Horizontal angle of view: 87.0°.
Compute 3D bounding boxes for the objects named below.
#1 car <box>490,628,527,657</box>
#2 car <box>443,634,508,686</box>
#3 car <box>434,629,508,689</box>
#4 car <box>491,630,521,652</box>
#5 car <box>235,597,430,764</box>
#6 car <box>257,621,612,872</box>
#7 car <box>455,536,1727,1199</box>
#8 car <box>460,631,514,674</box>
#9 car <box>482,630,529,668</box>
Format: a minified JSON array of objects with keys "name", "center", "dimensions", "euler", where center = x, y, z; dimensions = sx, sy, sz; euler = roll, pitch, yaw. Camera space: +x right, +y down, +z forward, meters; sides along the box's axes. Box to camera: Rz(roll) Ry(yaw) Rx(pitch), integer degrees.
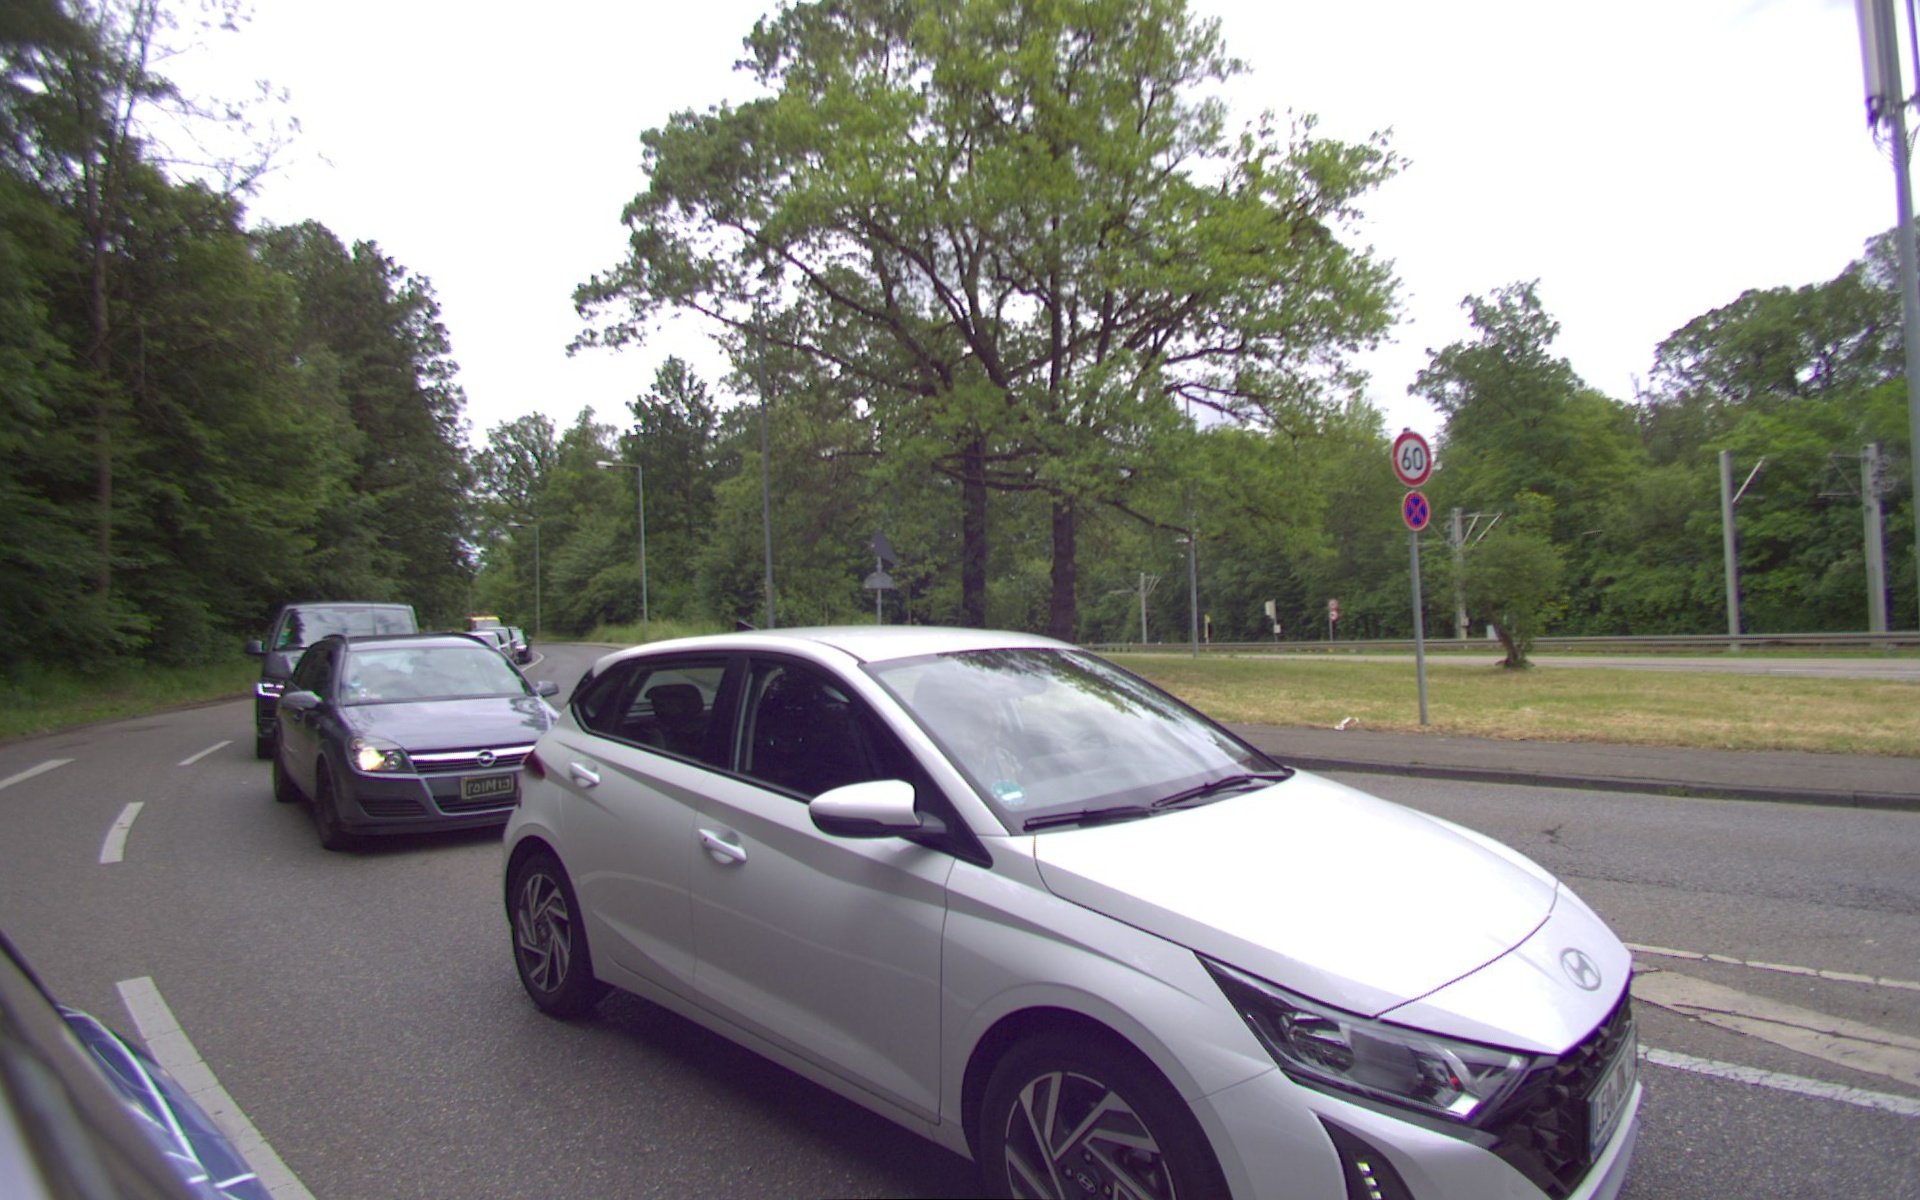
[{"name":"car","center":[-25.468,2.397,57.144],"dimensions":[1.749,1.511,3.885],"euler":[-1,-2,-22]},{"name":"car","center":[-15.393,1.863,32.232],"dimensions":[1.748,1.511,3.885],"euler":[0,-2,-25]},{"name":"car","center":[-13.671,1.615,28.417],"dimensions":[1.748,1.511,3.885],"euler":[0,-2,-25]},{"name":"car","center":[-31.828,2.865,70.986],"dimensions":[1.749,1.511,3.885],"euler":[-1,-2,-22]},{"name":"car","center":[-8.461,0.990,13.930],"dimensions":[1.957,1.887,4.545],"euler":[0,-2,-29]},{"name":"car","center":[-4.585,0.973,8.427],"dimensions":[1.775,1.490,4.478],"euler":[0,-2,-39]},{"name":"car","center":[-0.072,0.731,3.426],"dimensions":[4.073,1.490,1.631],"euler":[-3,-2,43]},{"name":"car","center":[-17.771,1.939,38.084],"dimensions":[1.748,1.511,3.885],"euler":[0,-2,-25]},{"name":"car","center":[-19.387,2.072,43.138],"dimensions":[1.748,1.511,3.885],"euler":[0,-2,-25]}]
